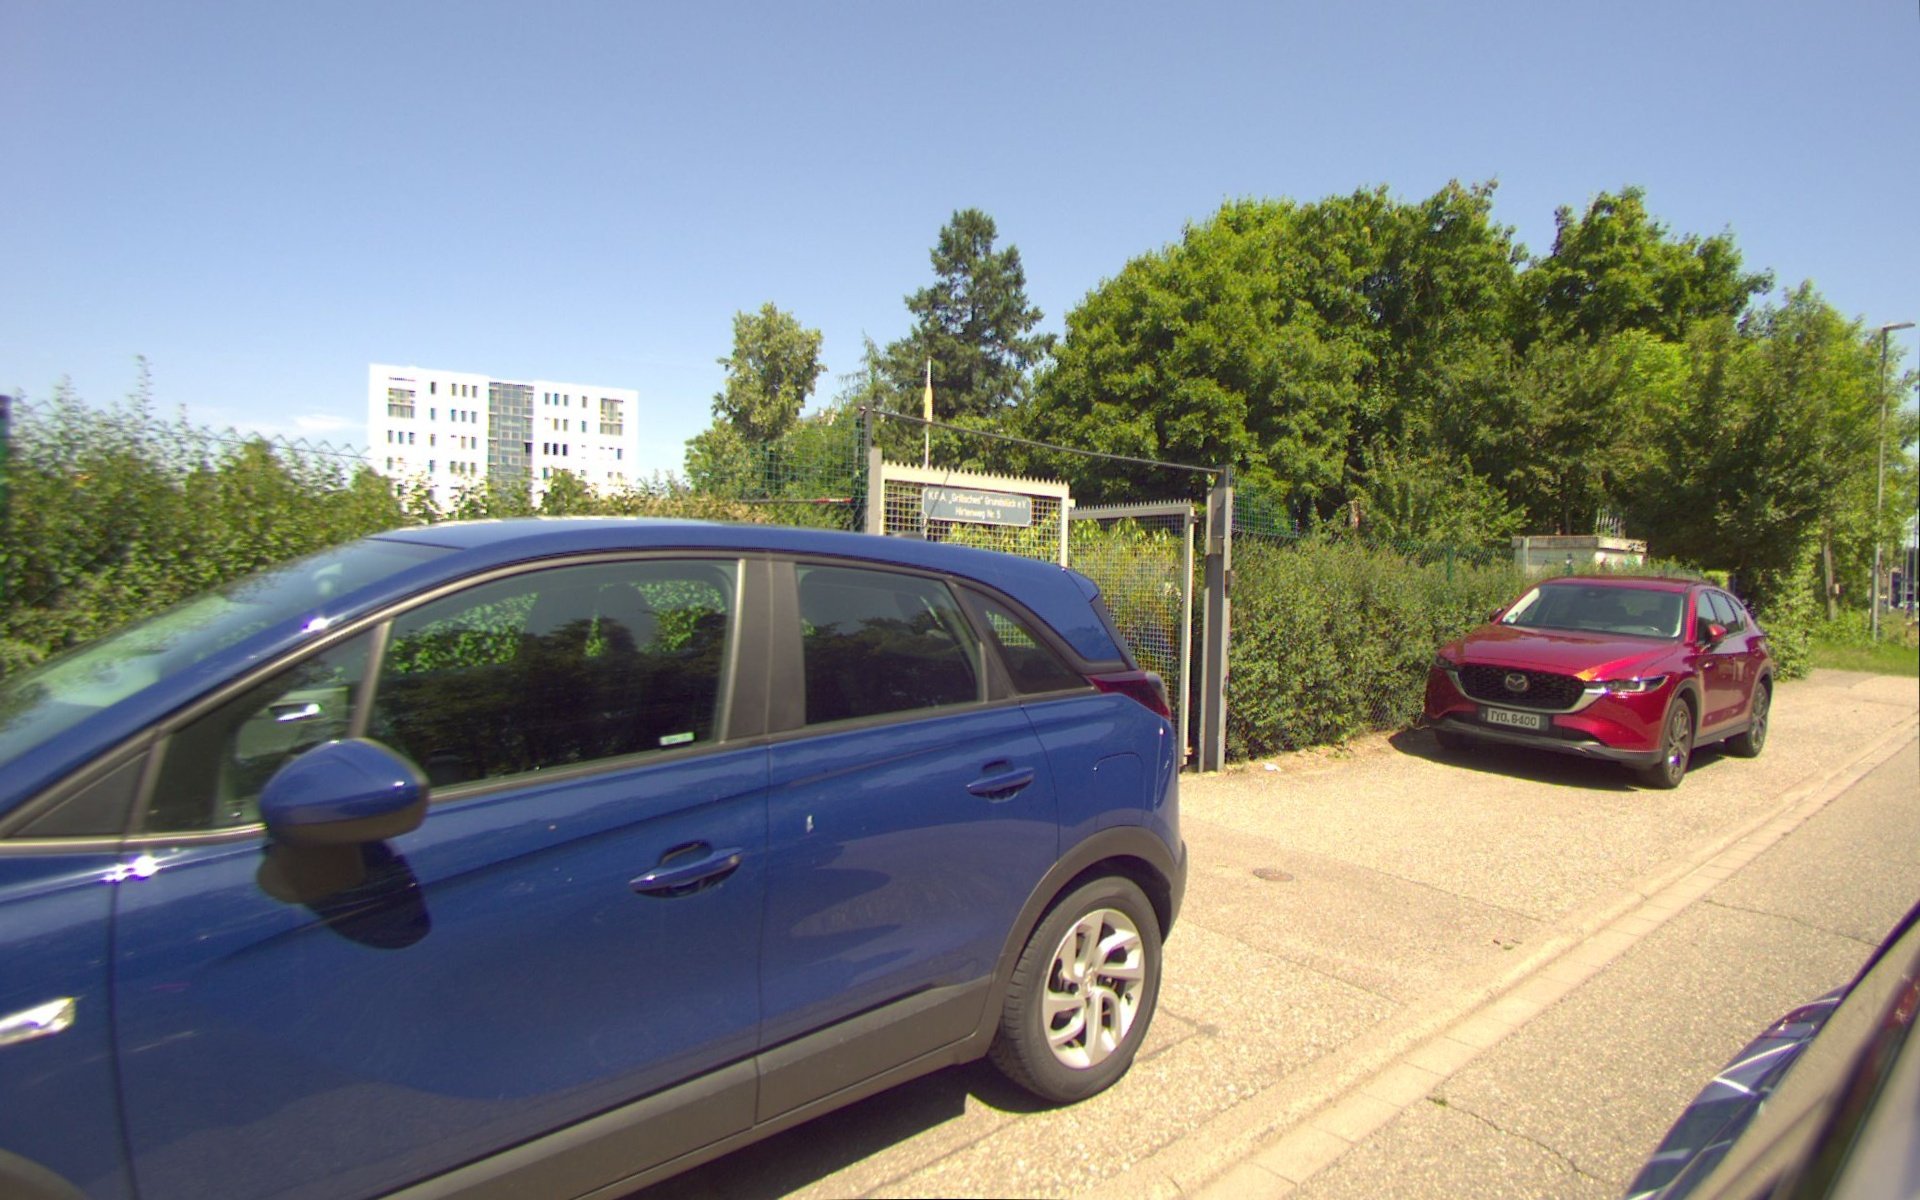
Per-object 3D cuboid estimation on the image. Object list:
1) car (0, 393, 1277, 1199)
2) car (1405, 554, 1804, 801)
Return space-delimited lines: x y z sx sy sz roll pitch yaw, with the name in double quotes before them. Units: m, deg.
"car" -1.111 0.519 2.632 4.057 1.623 1.793 1 2 -41
"car" 6.077 0.542 9.328 4.374 1.678 1.794 0 4 -41
